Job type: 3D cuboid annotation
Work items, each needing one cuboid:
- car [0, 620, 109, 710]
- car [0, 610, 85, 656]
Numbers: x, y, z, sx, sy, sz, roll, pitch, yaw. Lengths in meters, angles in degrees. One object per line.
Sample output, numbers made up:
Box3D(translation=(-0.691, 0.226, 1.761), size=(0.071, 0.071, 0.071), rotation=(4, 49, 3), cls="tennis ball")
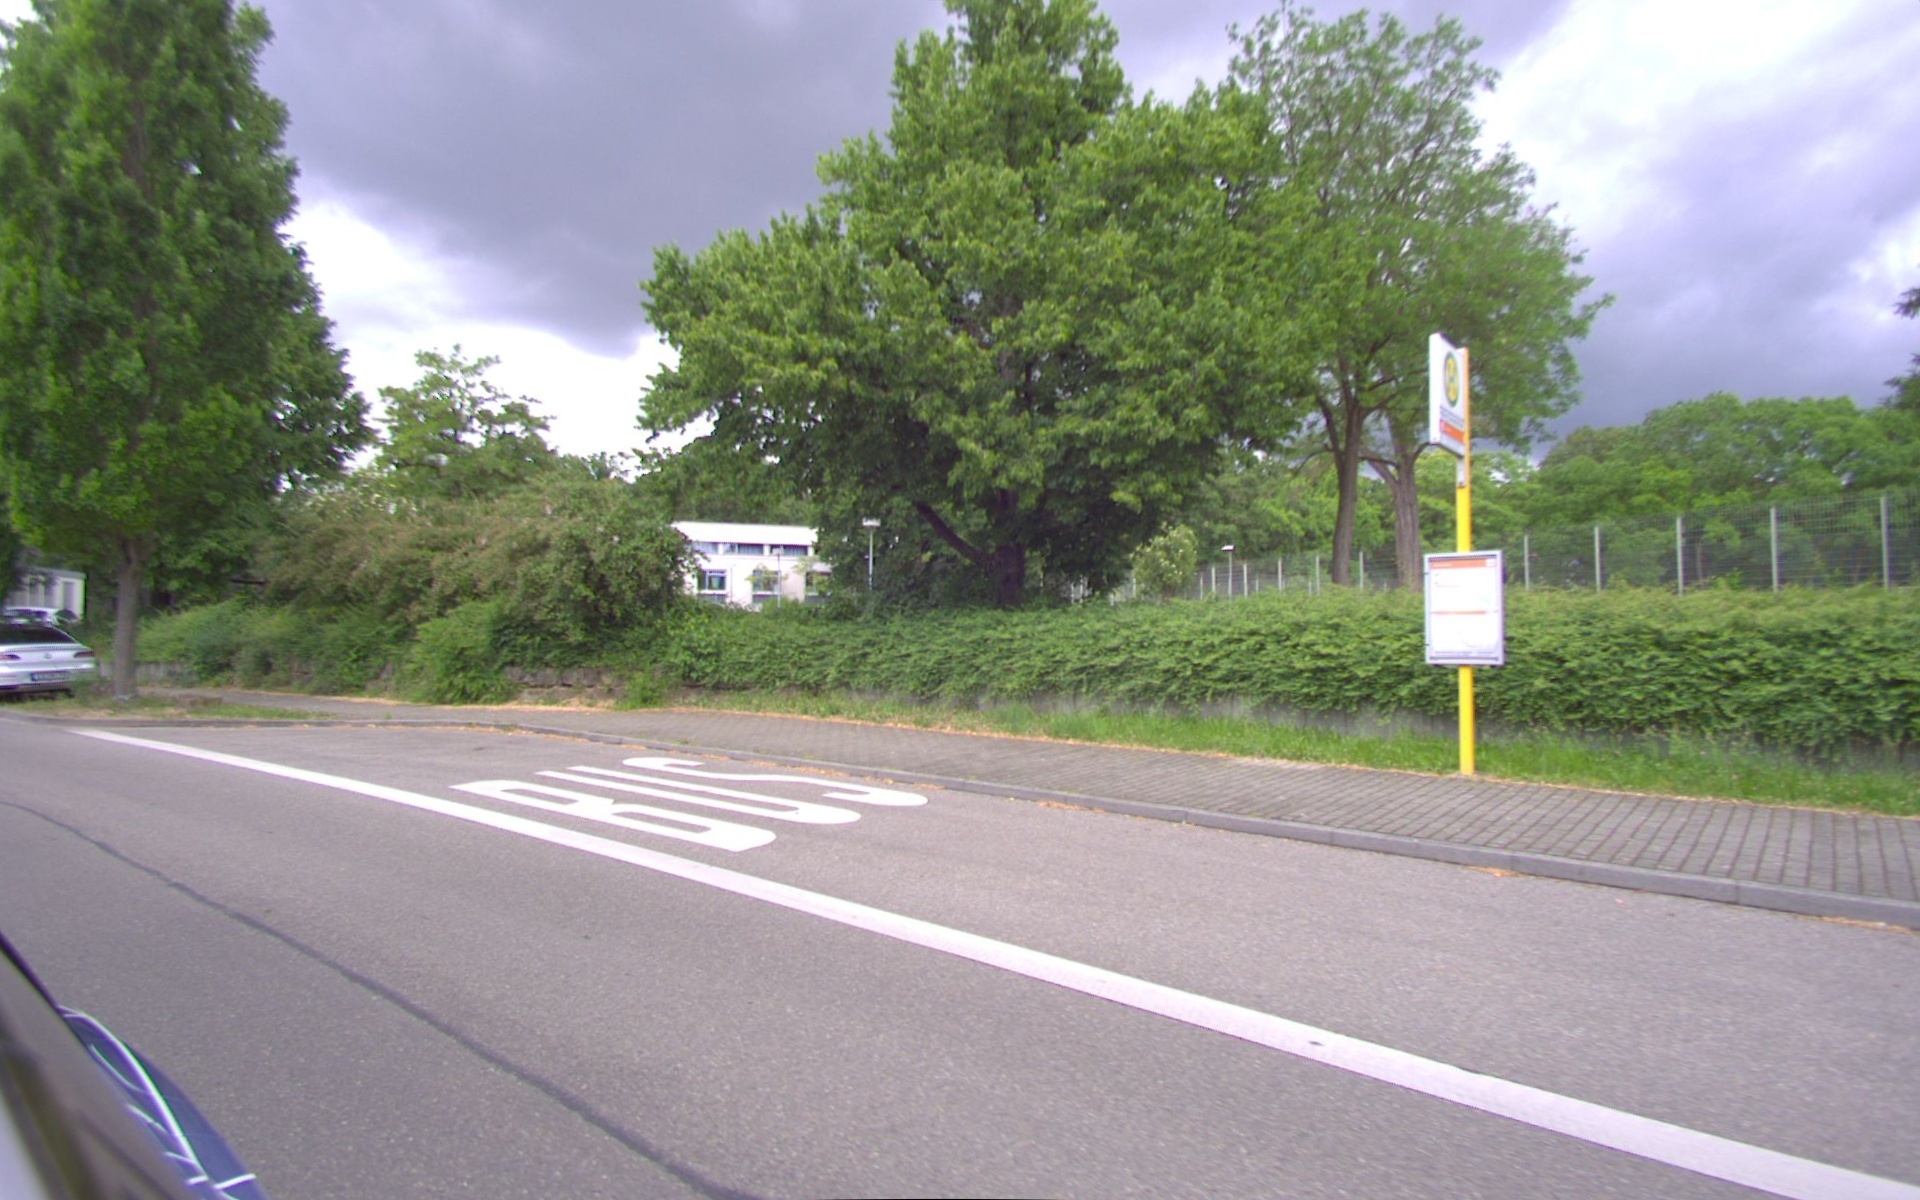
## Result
Box3D(translation=(-17.999, 1.159, 18.864), size=(4.617, 1.503, 1.835), rotation=(-1, -1, 30), cls="car")
Box3D(translation=(-35.880, 1.226, 38.273), size=(3.747, 1.650, 2.006), rotation=(-1, 1, -16), cls="car")
